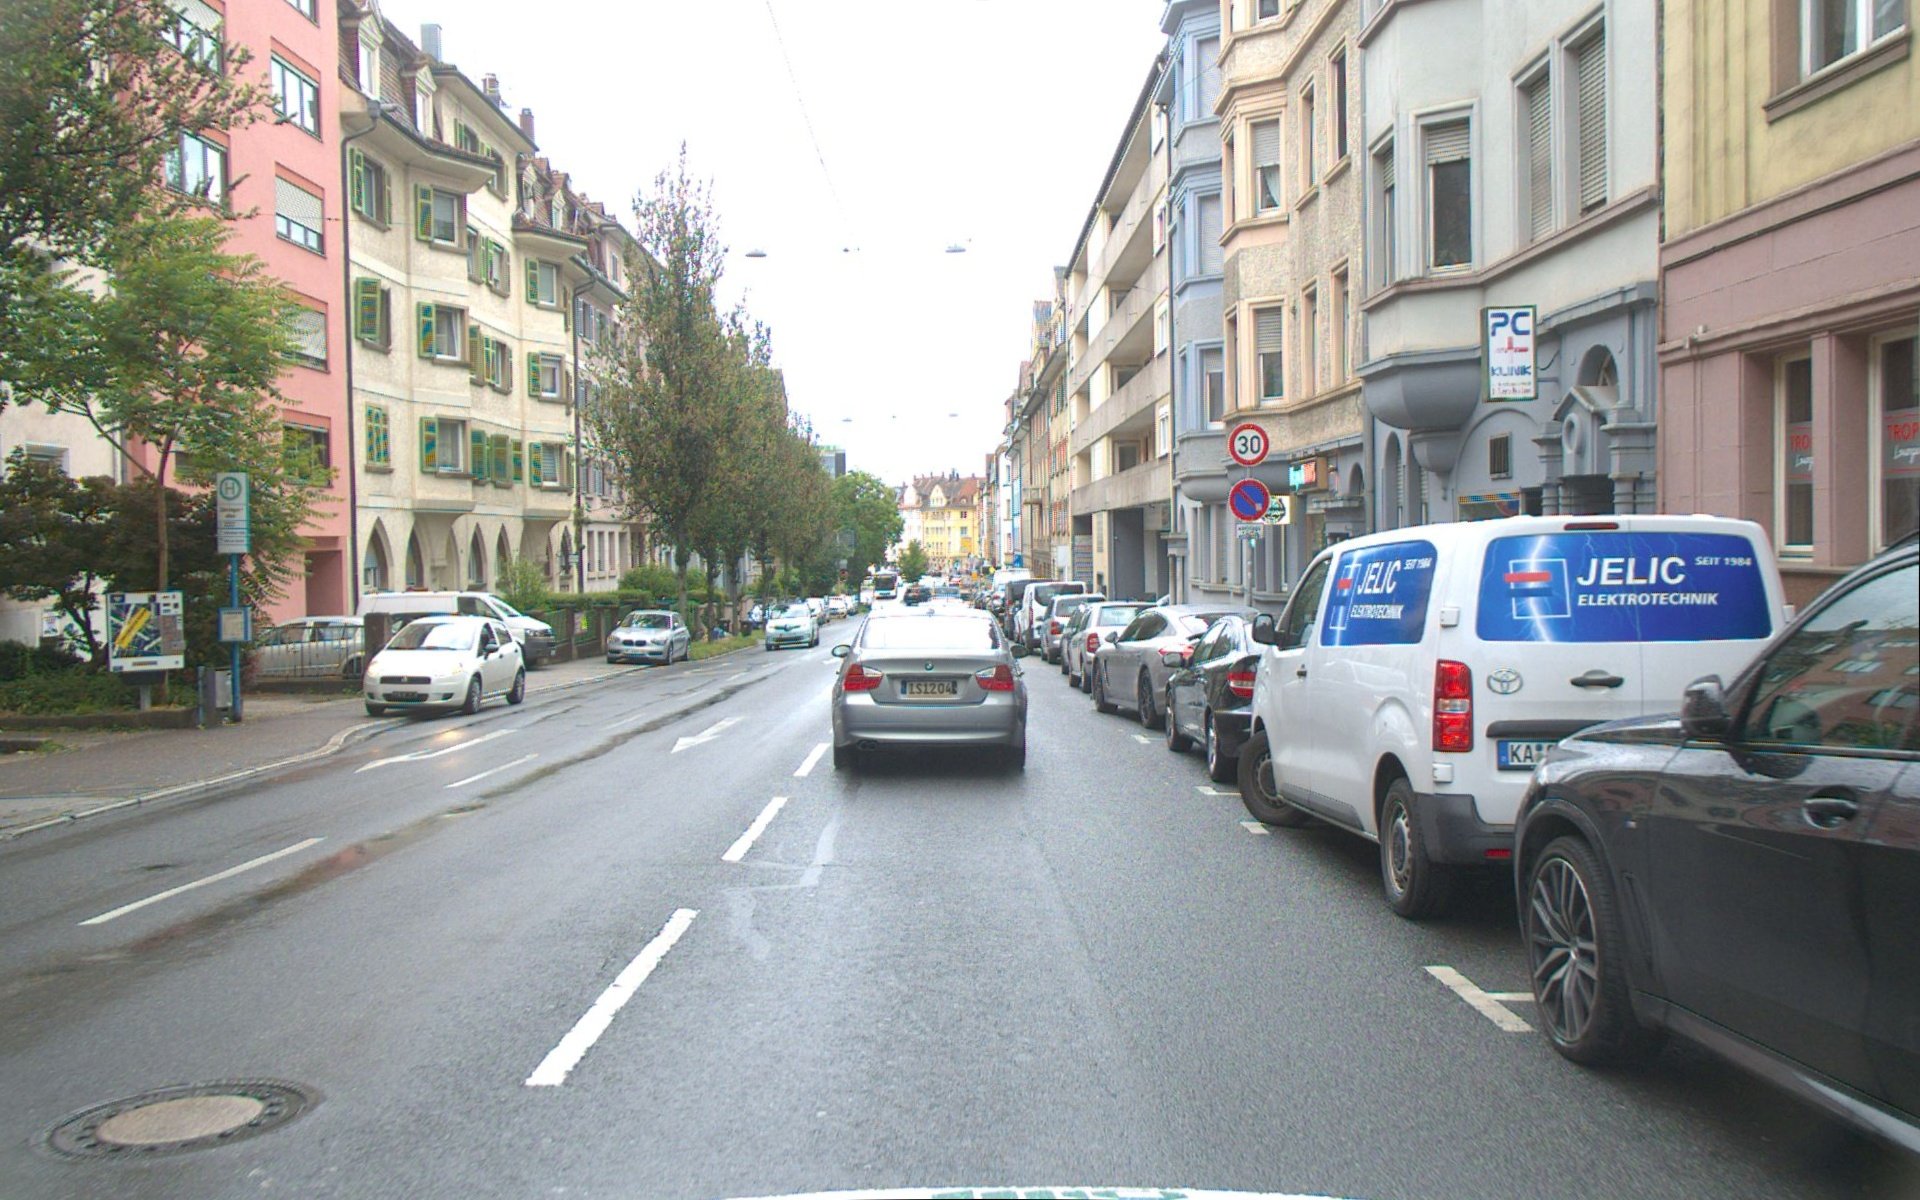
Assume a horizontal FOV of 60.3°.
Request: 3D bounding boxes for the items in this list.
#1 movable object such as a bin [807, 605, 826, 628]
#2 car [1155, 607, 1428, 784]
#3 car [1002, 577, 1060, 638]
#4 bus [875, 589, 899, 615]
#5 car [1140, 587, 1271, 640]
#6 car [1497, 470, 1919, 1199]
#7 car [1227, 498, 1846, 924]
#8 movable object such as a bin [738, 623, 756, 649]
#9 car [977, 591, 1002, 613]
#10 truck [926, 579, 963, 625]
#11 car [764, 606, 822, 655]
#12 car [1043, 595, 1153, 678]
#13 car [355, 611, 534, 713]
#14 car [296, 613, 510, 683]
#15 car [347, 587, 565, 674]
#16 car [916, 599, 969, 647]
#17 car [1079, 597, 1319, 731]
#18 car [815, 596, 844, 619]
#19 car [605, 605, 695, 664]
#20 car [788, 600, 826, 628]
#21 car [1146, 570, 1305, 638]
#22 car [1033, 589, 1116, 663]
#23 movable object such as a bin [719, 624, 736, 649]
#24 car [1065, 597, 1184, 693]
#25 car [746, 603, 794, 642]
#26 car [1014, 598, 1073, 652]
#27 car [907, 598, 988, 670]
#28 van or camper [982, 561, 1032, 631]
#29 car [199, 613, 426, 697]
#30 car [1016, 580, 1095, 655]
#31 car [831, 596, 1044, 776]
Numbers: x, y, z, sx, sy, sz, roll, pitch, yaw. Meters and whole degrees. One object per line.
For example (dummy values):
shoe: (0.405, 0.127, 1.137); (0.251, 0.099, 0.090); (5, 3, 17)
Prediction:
movable object such as a bin: (-7.703, 0.877, 88.790); (0.916, 1.189, 0.909); (0, 0, -1)
car: (2.908, 0.775, 15.384); (1.643, 1.399, 4.275); (0, 0, -1)
car: (2.662, 0.288, 63.013); (1.941, 2.204, 4.749); (-1, 0, -1)
bus: (-8.971, 0.261, 204.007); (2.614, 3.077, 7.669); (-1, 0, -1)
car: (8.177, 0.437, 54.988); (4.195, 1.669, 1.668); (-1, 1, 12)
car: (2.994, 0.617, 3.957); (1.840, 1.762, 4.676); (1, 0, -1)
car: (2.995, 0.501, 9.921); (1.880, 1.859, 5.008); (-1, 0, -1)
movable object such as a bin: (-8.055, 1.361, 62.516); (0.565, 0.928, 0.638); (-1, 0, -15)
car: (2.144, 0.175, 121.043); (1.663, 1.509, 3.974); (1, -1, -1)
truck: (-0.900, 0.128, 92.829); (1.991, 2.455, 4.825); (1, -1, -1)
car: (-5.761, 1.031, 57.474); (1.603, 1.534, 3.754); (-3, 0, -1)
car: (2.801, 0.712, 34.616); (1.861, 1.504, 4.798); (-3, 0, 0)
car: (-8.167, 0.935, 26.540); (1.588, 1.471, 4.005); (-1, 0, 0)
car: (-12.823, 1.087, 38.261); (4.343, 1.477, 1.791); (-1, 0, -3)
car: (-12.406, 0.732, 40.963); (4.730, 2.008, 2.047); (-1, 0, -1)
car: (-0.582, 0.757, 54.482); (1.663, 1.509, 3.792); (1, -1, -1)
car: (2.873, 0.740, 20.992); (1.839, 1.493, 4.768); (1, 0, -7)
car: (-9.213, 0.530, 116.750); (1.656, 1.550, 3.736); (-2, 0, 0)
car: (-8.592, 0.949, 46.155); (1.691, 1.510, 3.989); (2, -1, 0)
car: (-8.893, 0.798, 96.489); (1.790, 1.550, 3.736); (-2, 0, 0)
car: (7.563, 0.105, 46.985); (4.234, 1.836, 2.008); (0, 1, 17)
car: (2.826, 0.622, 41.634); (1.691, 1.699, 4.287); (-3, 0, -1)
movable object such as a bin: (-8.761, 1.363, 62.342); (0.565, 0.928, 0.638); (-1, 0, -15)
car: (2.724, 0.723, 28.177); (1.578, 1.500, 4.015); (1, 0, -1)
car: (-8.492, 1.007, 74.273); (1.731, 1.621, 3.999); (-2, 0, -2)
car: (2.788, 0.810, 55.920); (1.691, 1.699, 4.287); (-1, 0, -1)
car: (-0.235, 0.721, 36.040); (1.647, 1.453, 3.741); (1, 0, 1)
van or camper: (2.141, -0.188, 73.538); (1.991, 2.919, 6.888); (-1, 0, 3)
car: (-12.726, 1.060, 32.713); (3.809, 1.483, 1.789); (-1, 0, -8)
car: (2.741, 0.498, 48.342); (1.941, 2.042, 4.624); (-1, 0, -1)
car: (-0.321, 0.729, 15.501); (1.734, 1.453, 3.737); (1, -1, -4)
